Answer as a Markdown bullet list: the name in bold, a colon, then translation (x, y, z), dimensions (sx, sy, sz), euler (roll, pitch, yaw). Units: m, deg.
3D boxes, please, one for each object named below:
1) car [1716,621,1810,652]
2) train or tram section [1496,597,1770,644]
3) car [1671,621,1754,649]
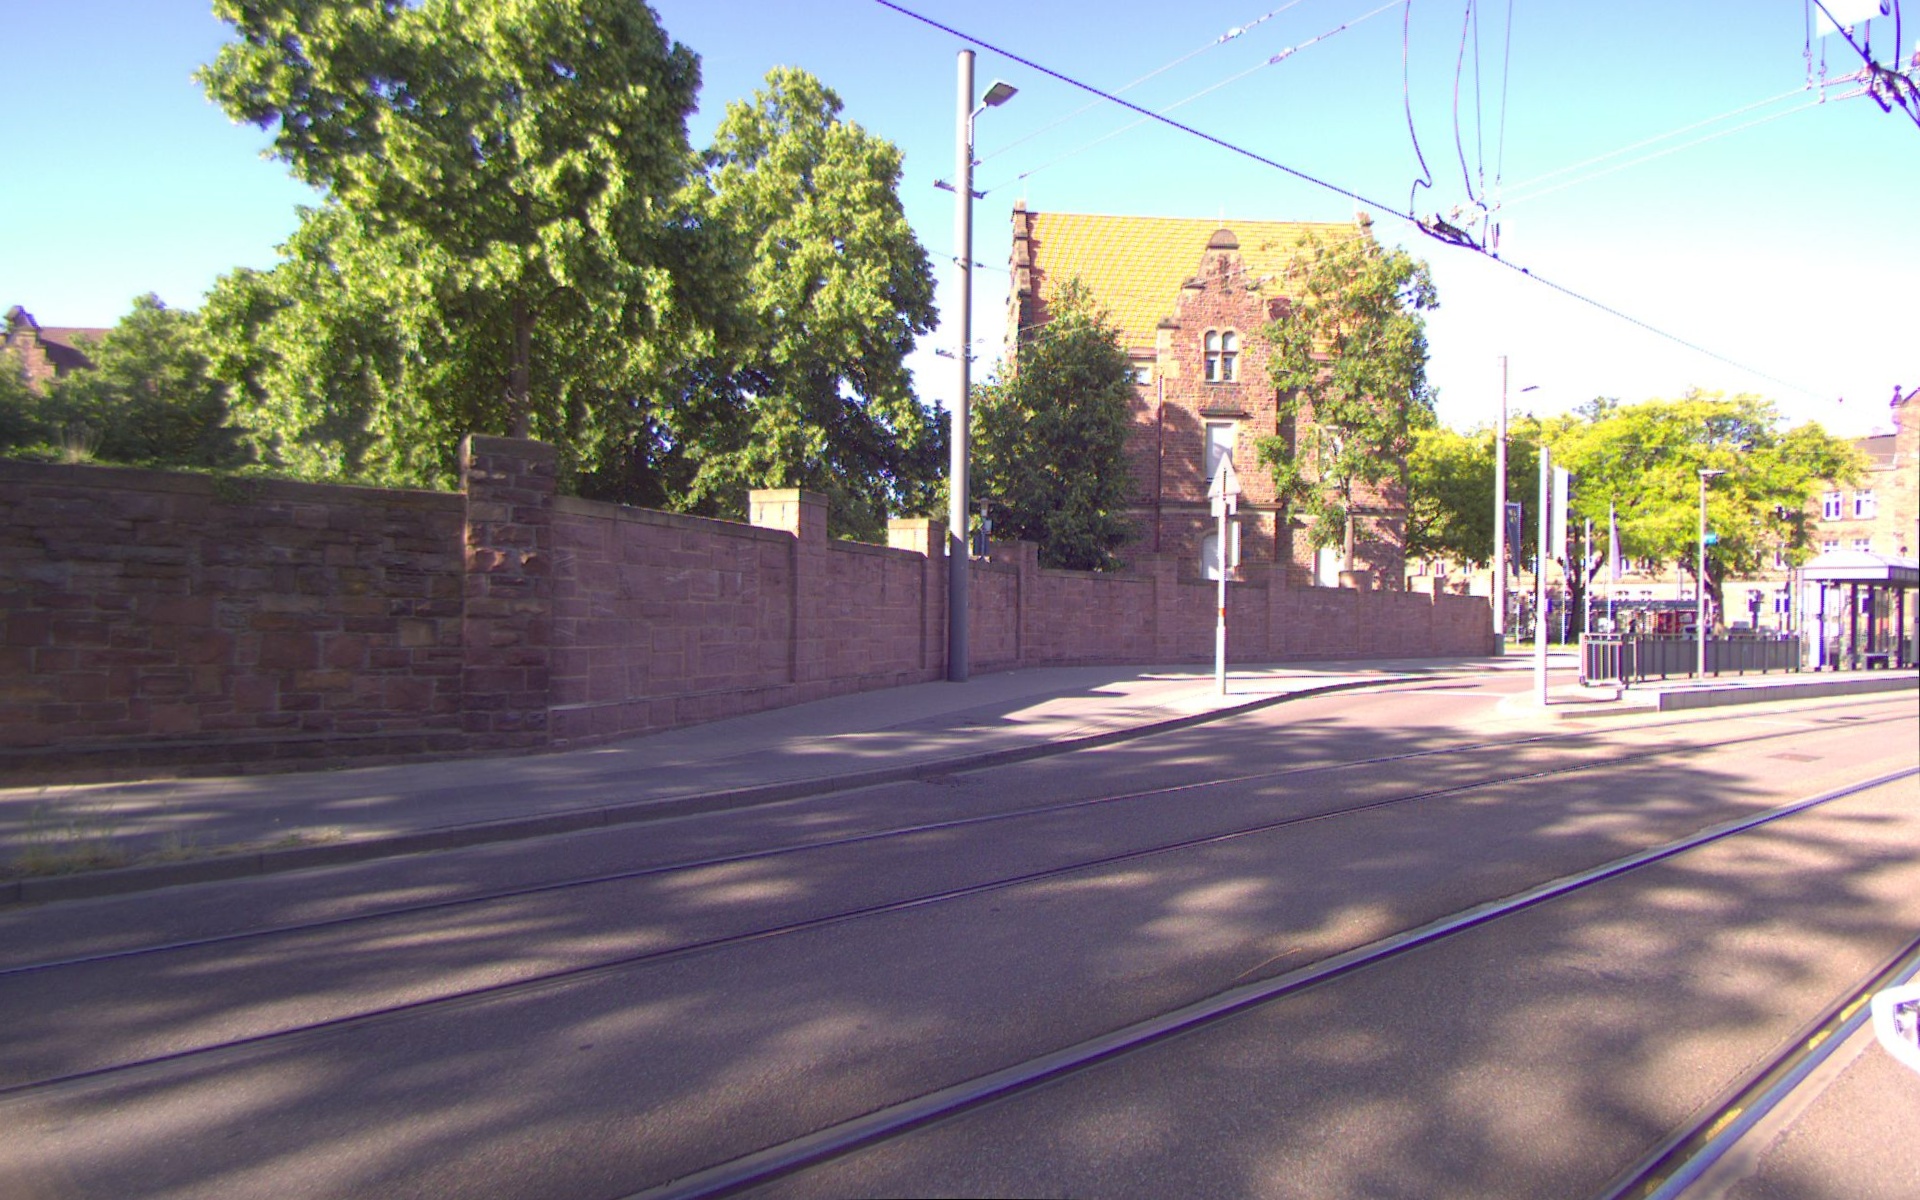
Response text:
- **car**: translation (47.749, 2.165, 59.796), dimensions (1.798, 1.651, 3.964), euler (2, 0, -32)
- **train or tram section**: translation (50.022, 1.465, 75.885), dimensions (3.312, 3.196, 17.280), euler (2, -1, -33)
- **car**: translation (49.173, 2.248, 65.680), dimensions (1.798, 1.651, 3.964), euler (2, 0, -32)
